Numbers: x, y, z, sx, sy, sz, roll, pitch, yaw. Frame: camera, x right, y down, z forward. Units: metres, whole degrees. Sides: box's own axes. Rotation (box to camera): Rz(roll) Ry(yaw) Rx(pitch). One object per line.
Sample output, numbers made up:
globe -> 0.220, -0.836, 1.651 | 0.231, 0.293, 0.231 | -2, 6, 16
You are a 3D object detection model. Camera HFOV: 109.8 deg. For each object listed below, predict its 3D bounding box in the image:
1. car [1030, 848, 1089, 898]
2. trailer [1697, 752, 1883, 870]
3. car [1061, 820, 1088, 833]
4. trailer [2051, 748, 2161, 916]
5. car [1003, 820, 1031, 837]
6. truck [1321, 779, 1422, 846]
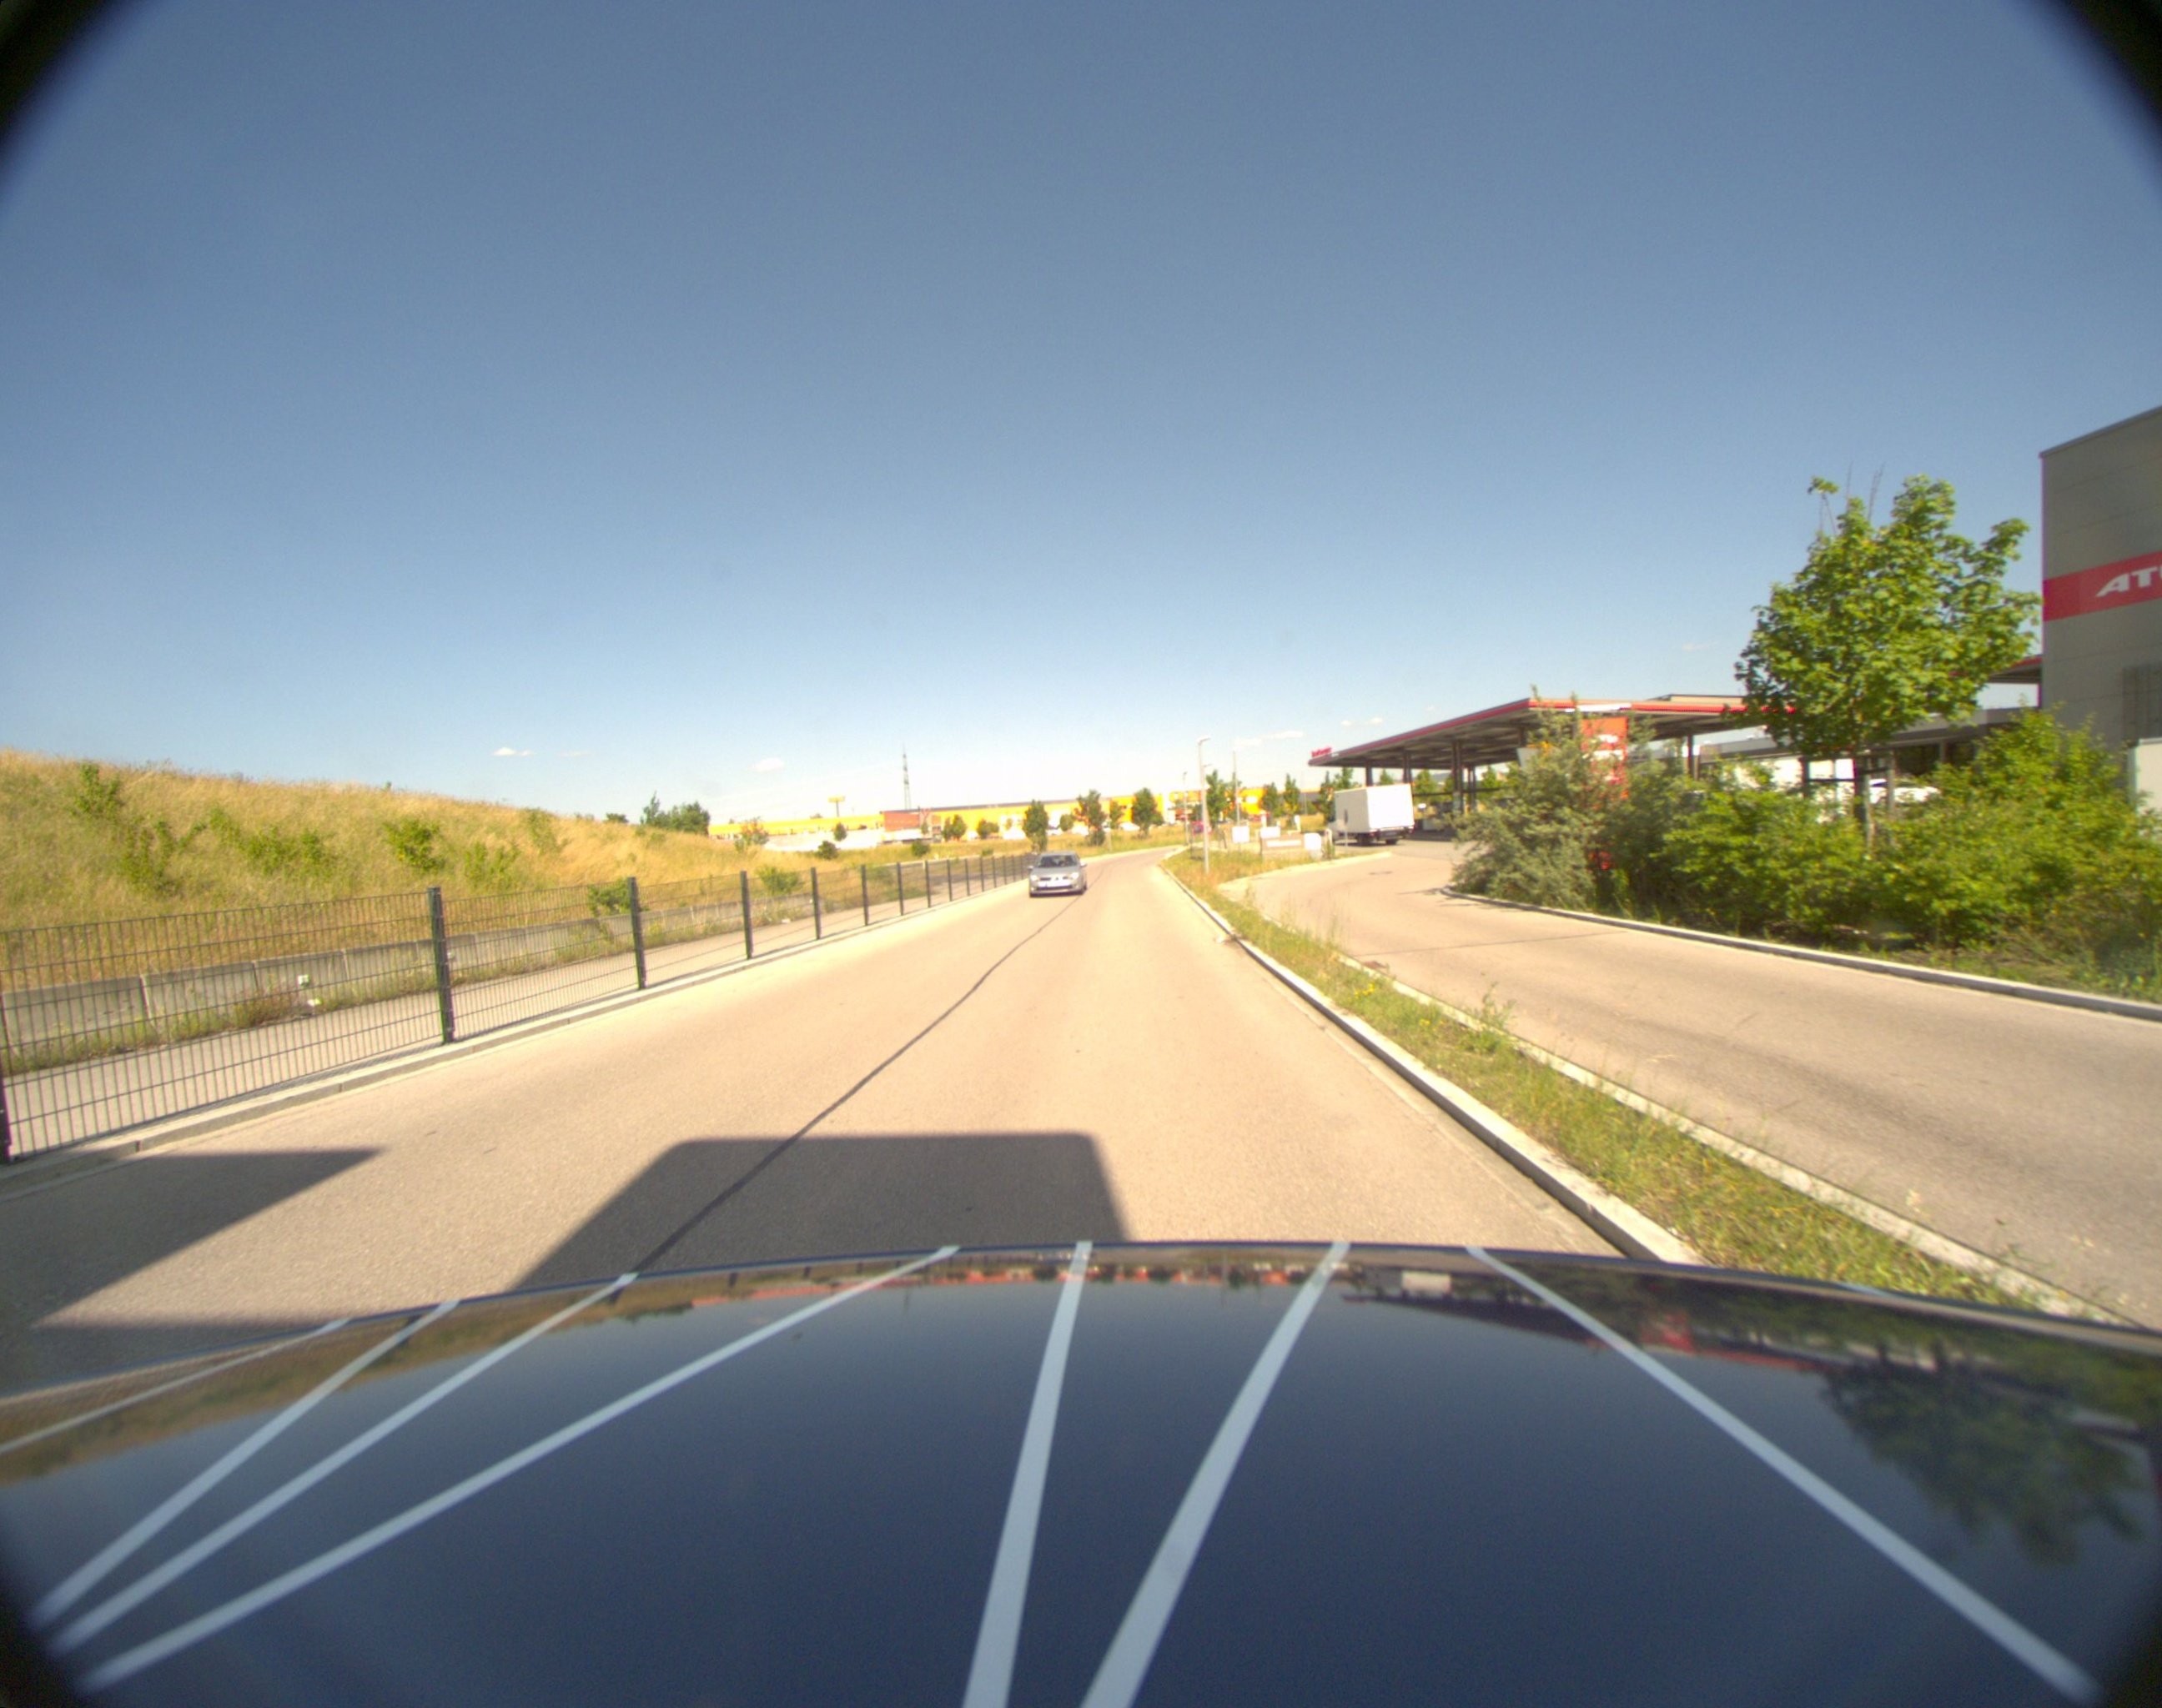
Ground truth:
car -> -0.665, 0.589, 26.029 | 1.746, 1.460, 3.960 | -1, 1, 2
trailer -> 13.713, -0.823, 14.680 | 3.211, 2.002, 1.995 | -5, 2, -36
car -> -1.168, -4.876, 135.217 | 4.634, 2.002, 1.999 | -4, 2, -1
trailer -> 14.128, -0.357, 9.396 | 2.739, 2.002, 1.996 | -5, 2, -24
car -> -11.405, -4.528, 135.459 | 4.634, 2.534, 1.999 | -4, 2, -1
truck -> 16.164, -2.237, 42.832 | 2.640, 3.299, 6.902 | -4, 1, -2
